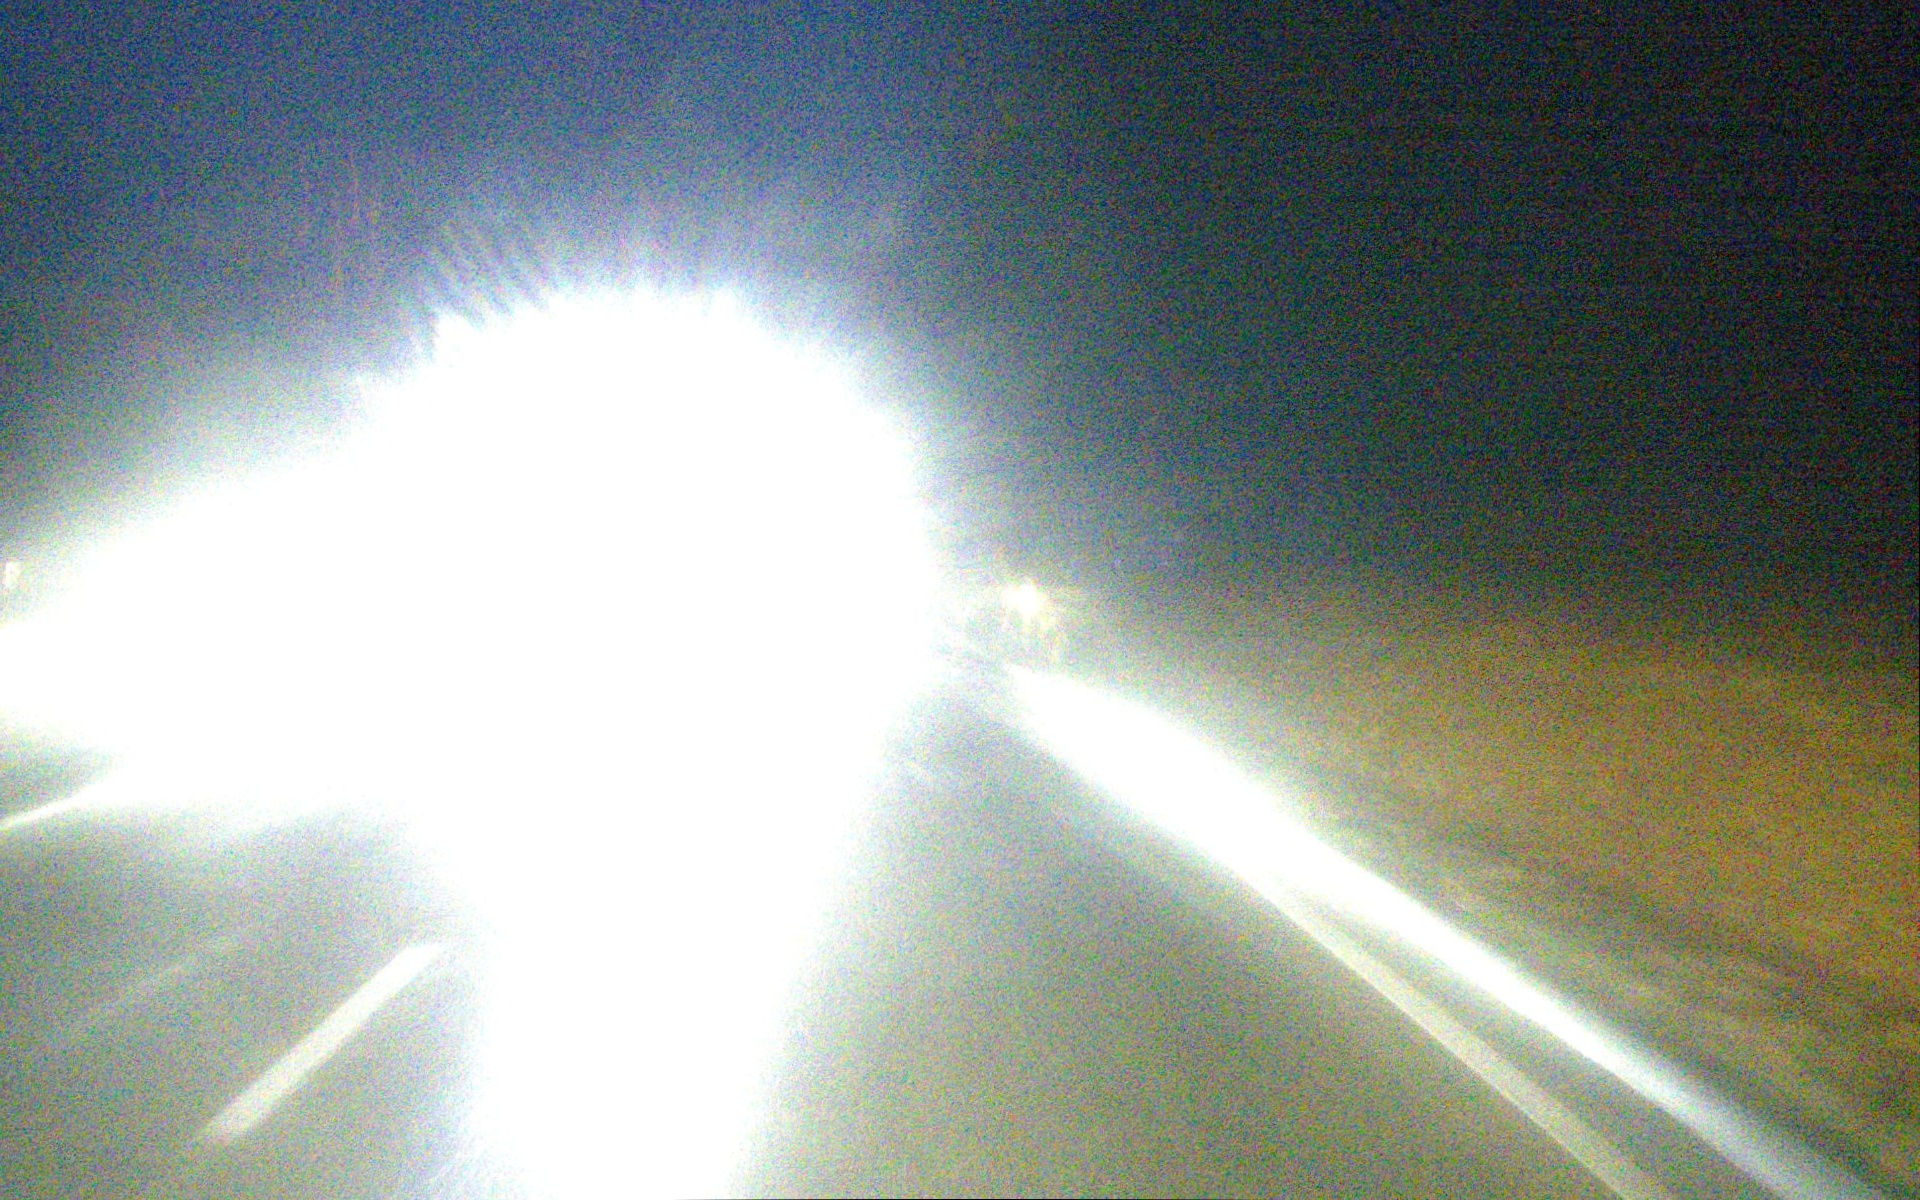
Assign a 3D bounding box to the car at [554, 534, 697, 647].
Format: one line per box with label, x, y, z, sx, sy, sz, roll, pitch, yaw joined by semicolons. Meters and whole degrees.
car;-4.901;-0.161;50.840;1.829;1.562;3.780;1;1;-2
